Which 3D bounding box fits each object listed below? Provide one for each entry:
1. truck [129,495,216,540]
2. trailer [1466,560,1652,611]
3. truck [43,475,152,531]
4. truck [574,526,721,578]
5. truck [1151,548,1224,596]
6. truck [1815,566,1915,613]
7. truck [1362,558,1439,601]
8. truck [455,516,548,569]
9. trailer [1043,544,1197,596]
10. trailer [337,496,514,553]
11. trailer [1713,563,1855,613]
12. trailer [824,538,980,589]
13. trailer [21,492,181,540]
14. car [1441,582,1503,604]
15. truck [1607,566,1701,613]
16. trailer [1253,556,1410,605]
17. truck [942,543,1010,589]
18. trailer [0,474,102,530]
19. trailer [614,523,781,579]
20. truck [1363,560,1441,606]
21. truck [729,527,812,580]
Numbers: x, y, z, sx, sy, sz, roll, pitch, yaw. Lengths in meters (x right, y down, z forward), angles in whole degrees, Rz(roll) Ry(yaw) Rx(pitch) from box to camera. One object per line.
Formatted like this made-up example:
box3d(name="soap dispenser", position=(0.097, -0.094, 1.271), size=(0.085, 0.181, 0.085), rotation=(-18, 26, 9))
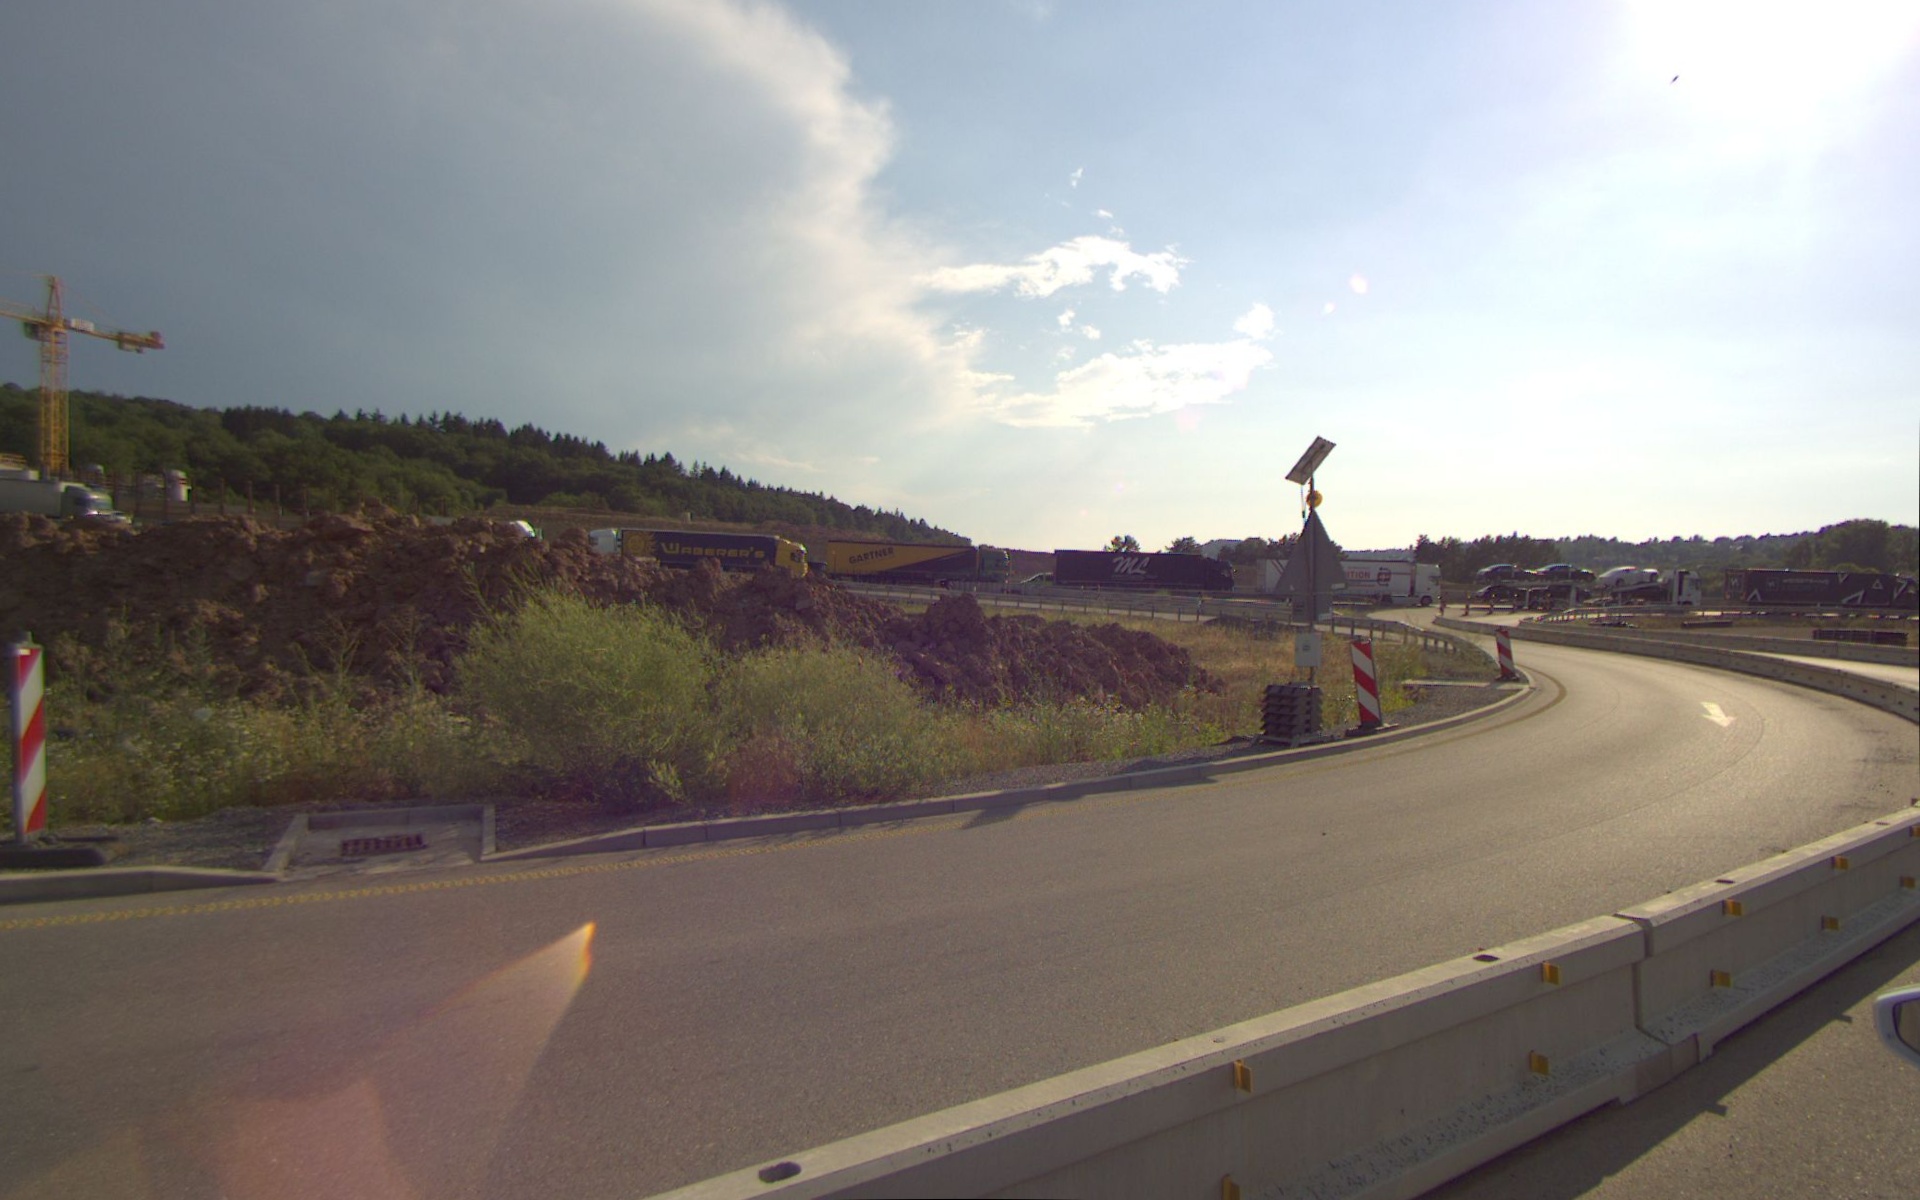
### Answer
box3d(name="truck", position=(-83.933, -8.767, 107.103), size=(6.760, 4.372, 3.114), rotation=(2, 1, 0))
box3d(name="trailer", position=(54.950, -1.336, 92.392), size=(15.439, 4.050, 2.865), rotation=(2, 2, -2))
box3d(name="truck", position=(-75.895, -8.480, 88.447), size=(6.761, 4.372, 3.113), rotation=(2, 1, -1))
box3d(name="truck", position=(-30.176, -4.607, 97.448), size=(12.916, 4.471, 3.572), rotation=(2, 0, -1))
box3d(name="truck", position=(20.587, -2.542, 90.997), size=(5.895, 4.115, 2.487), rotation=(2, 2, -2))
box3d(name="truck", position=(83.835, -0.970, 93.135), size=(6.494, 4.050, 2.894), rotation=(2, 2, -1))
box3d(name="truck", position=(44.853, -2.109, 102.396), size=(6.495, 4.050, 2.856), rotation=(2, 2, -2))
box3d(name="truck", position=(-40.797, -5.083, 89.582), size=(6.761, 4.372, 3.113), rotation=(2, 1, -1))
box3d(name="trailer", position=(14.382, -2.691, 90.796), size=(13.367, 4.116, 2.487), rotation=(2, 2, -3))
box3d(name="trailer", position=(-47.441, -6.634, 89.445), size=(13.972, 4.372, 3.113), rotation=(2, 1, -1))
box3d(name="trailer", position=(76.255, -1.125, 93.076), size=(10.581, 4.146, 2.968), rotation=(2, 1, -1))
box3d(name="trailer", position=(-5.166, -3.285, 90.359), size=(13.703, 4.012, 2.487), rotation=(2, 2, -1))
box3d(name="trailer", position=(-91.409, -8.961, 107.052), size=(13.974, 4.372, 3.113), rotation=(2, 1, -2))
box3d(name="car", position=(50.090, -0.692, 98.338), size=(4.881, 2.008, 2.034), rotation=(1, 4, -1))
box3d(name="truck", position=(63.971, -1.016, 92.684), size=(6.495, 4.050, 2.856), rotation=(2, 2, -2))
box3d(name="trailer", position=(33.820, -1.770, 91.726), size=(13.366, 3.931, 2.487), rotation=(2, 2, -2))
box3d(name="truck", position=(1.381, -3.061, 90.493), size=(5.894, 3.954, 2.487), rotation=(2, 2, -1))
box3d(name="trailer", position=(-83.941, -8.719, 88.333), size=(13.972, 4.372, 3.113), rotation=(2, 1, -1))
box3d(name="trailer", position=(-23.358, -4.335, 89.983), size=(13.972, 4.372, 3.113), rotation=(2, 1, -1))
box3d(name="truck", position=(40.431, -1.545, 91.956), size=(5.895, 3.931, 2.487), rotation=(2, 2, -2))
box3d(name="truck", position=(-16.928, -4.158, 90.152), size=(6.761, 4.372, 3.113), rotation=(2, 1, -1))
